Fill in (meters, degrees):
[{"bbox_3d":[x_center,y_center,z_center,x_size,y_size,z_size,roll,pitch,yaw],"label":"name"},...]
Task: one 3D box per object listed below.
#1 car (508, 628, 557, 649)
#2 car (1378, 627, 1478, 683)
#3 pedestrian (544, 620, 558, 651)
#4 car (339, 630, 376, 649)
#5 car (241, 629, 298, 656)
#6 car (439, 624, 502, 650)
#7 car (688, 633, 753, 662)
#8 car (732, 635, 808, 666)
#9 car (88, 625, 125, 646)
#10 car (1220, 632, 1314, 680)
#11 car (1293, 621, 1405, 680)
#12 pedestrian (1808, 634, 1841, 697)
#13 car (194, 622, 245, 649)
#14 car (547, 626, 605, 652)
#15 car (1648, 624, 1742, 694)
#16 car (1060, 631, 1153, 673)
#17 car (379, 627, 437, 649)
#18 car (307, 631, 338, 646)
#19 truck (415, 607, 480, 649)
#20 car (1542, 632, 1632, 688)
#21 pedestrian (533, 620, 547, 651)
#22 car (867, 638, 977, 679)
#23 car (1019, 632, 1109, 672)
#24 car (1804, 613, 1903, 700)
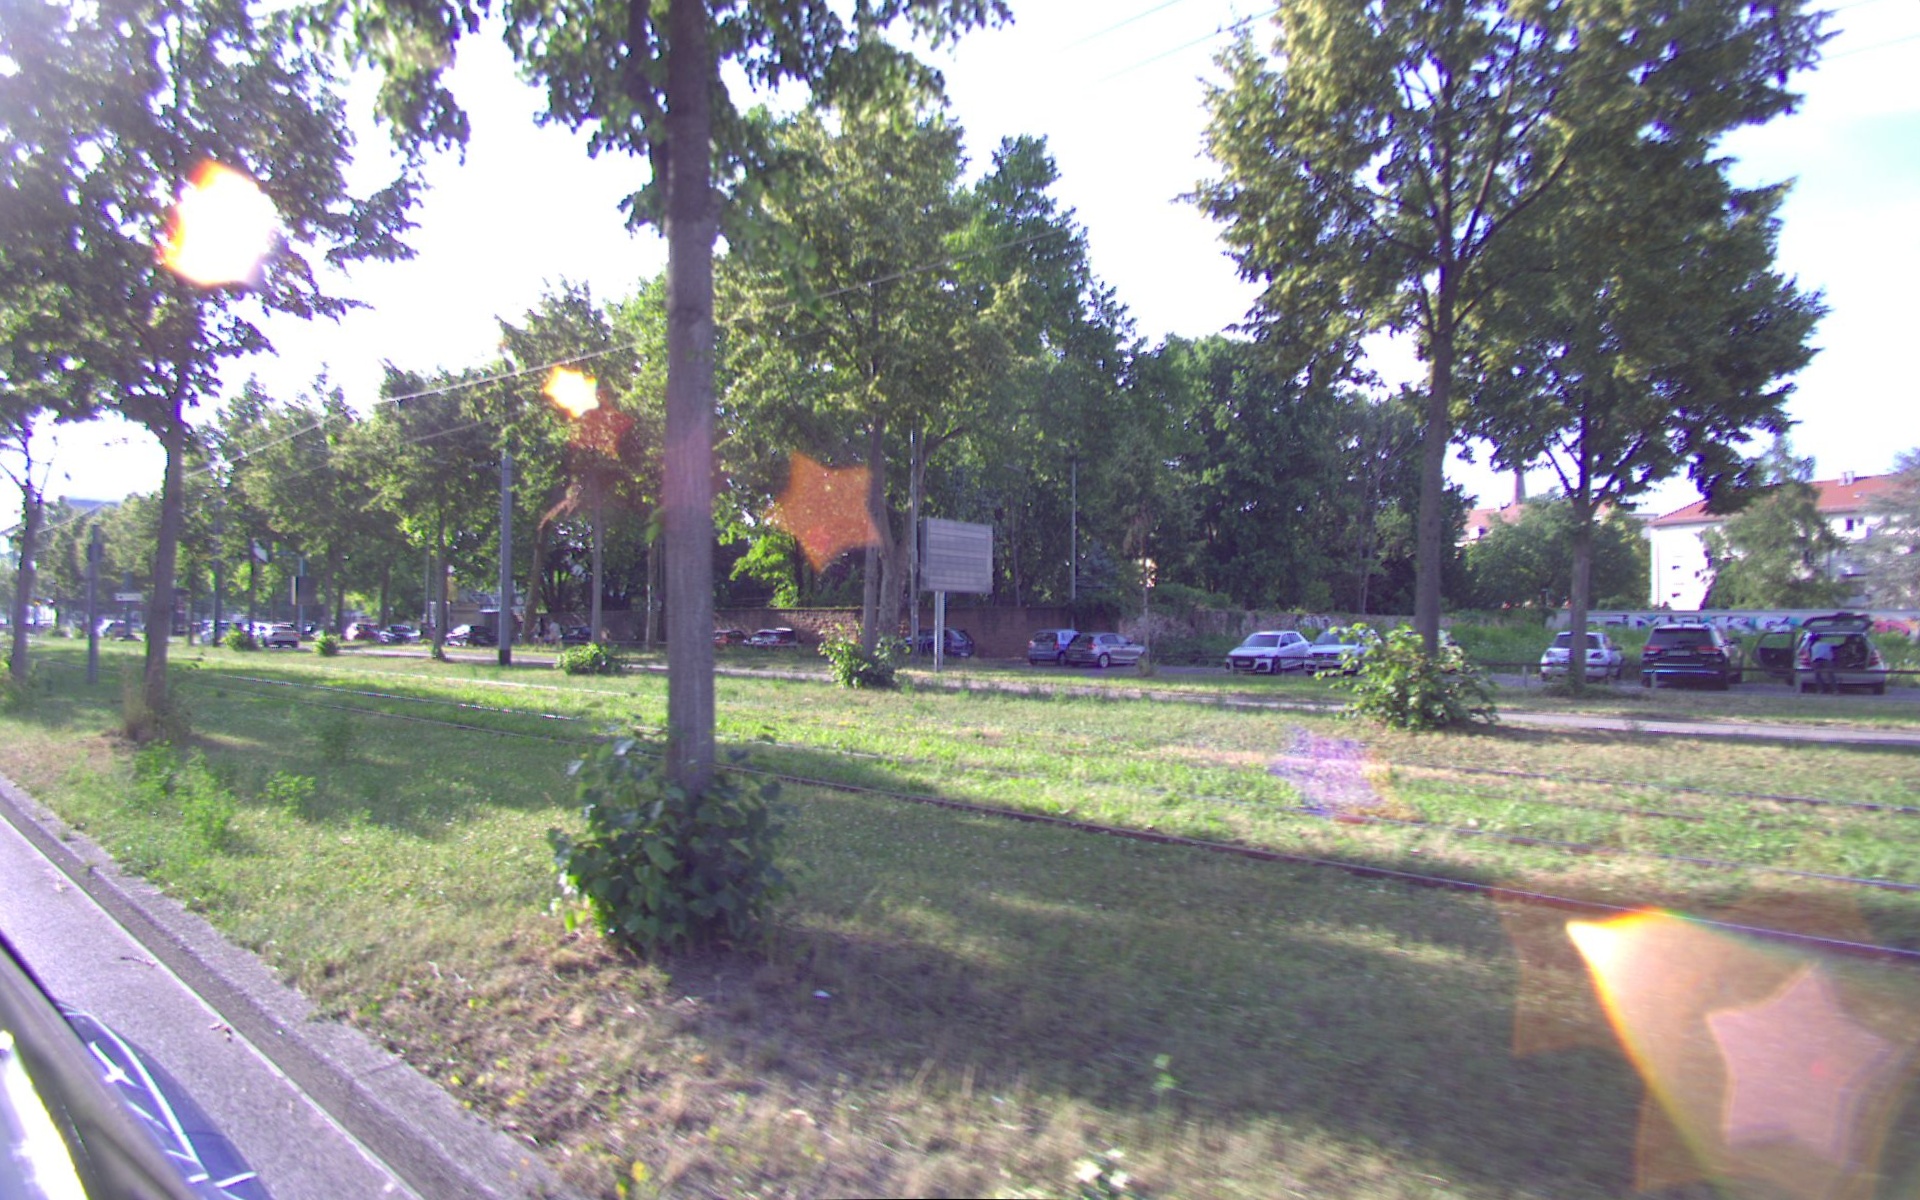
[{"bbox_3d":[-30.686,2.751,72.639,4.387,1.386,1.678,-1,0,44],"label":"car"},{"bbox_3d":[15.329,1.733,33.086,1.856,1.572,3.944,-1,0,42],"label":"car"},{"bbox_3d":[-19.734,1.706,48.855,0.601,1.487,0.382,-1,0,40],"label":"pedestrian"},{"bbox_3d":[-44.932,2.902,75.458,1.564,1.286,3.963,-1,0,-43],"label":"car"},{"bbox_3d":[-42.102,2.563,61.665,4.810,1.487,1.664,-1,-4,41],"label":"car"},{"bbox_3d":[-29.161,2.173,60.186,4.473,1.442,1.811,-1,0,42],"label":"car"},{"bbox_3d":[-13.690,2.679,57.686,3.911,1.453,1.699,-1,0,43],"label":"car"},{"bbox_3d":[-10.124,2.665,53.775,4.361,1.453,1.767,-1,0,43],"label":"car"},{"bbox_3d":[-67.177,2.783,79.621,4.130,1.544,1.594,-1,0,41],"label":"car"},{"bbox_3d":[10.847,1.928,35.659,1.809,1.439,3.607,-1,0,42],"label":"car"},{"bbox_3d":[13.393,1.663,34.670,1.885,1.748,5.005,-1,0,42],"label":"car"},{"bbox_3d":[21.117,1.598,24.725,0.568,1.491,0.516,-1,0,40],"label":"pedestrian"},{"bbox_3d":[-42.531,2.009,58.073,3.694,1.403,1.567,-1,0,41],"label":"car"},{"bbox_3d":[-26.324,2.662,69.279,4.473,1.624,1.811,-1,0,42],"label":"car"},{"bbox_3d":[20.153,1.545,27.698,1.757,1.655,3.951,-1,0,41],"label":"car"},{"bbox_3d":[6.048,2.092,41.472,3.811,1.497,1.746,-1,0,-42],"label":"car"},{"bbox_3d":[-35.267,2.421,64.601,4.898,1.253,1.658,-1,0,42],"label":"car"},{"bbox_3d":[-52.390,3.132,83.150,3.772,1.116,1.284,-1,0,43],"label":"car"},{"bbox_3d":[-45.824,2.405,90.385,2.856,3.542,7.949,-1,0,-45],"label":"truck"},{"bbox_3d":[18.682,1.729,30.092,1.725,1.436,3.530,-1,0,41],"label":"car"},{"bbox_3d":[-20.098,1.697,48.390,0.601,1.487,0.382,-1,0,40],"label":"pedestrian"},{"bbox_3d":[-1.511,2.275,39.663,4.014,1.446,1.672,-1,0,26],"label":"car"},{"bbox_3d":[4.475,2.193,43.309,3.811,1.497,1.746,-1,0,-42],"label":"car"},{"bbox_3d":[22.660,1.354,25.746,1.757,1.962,3.951,-1,0,41],"label":"car"}]
